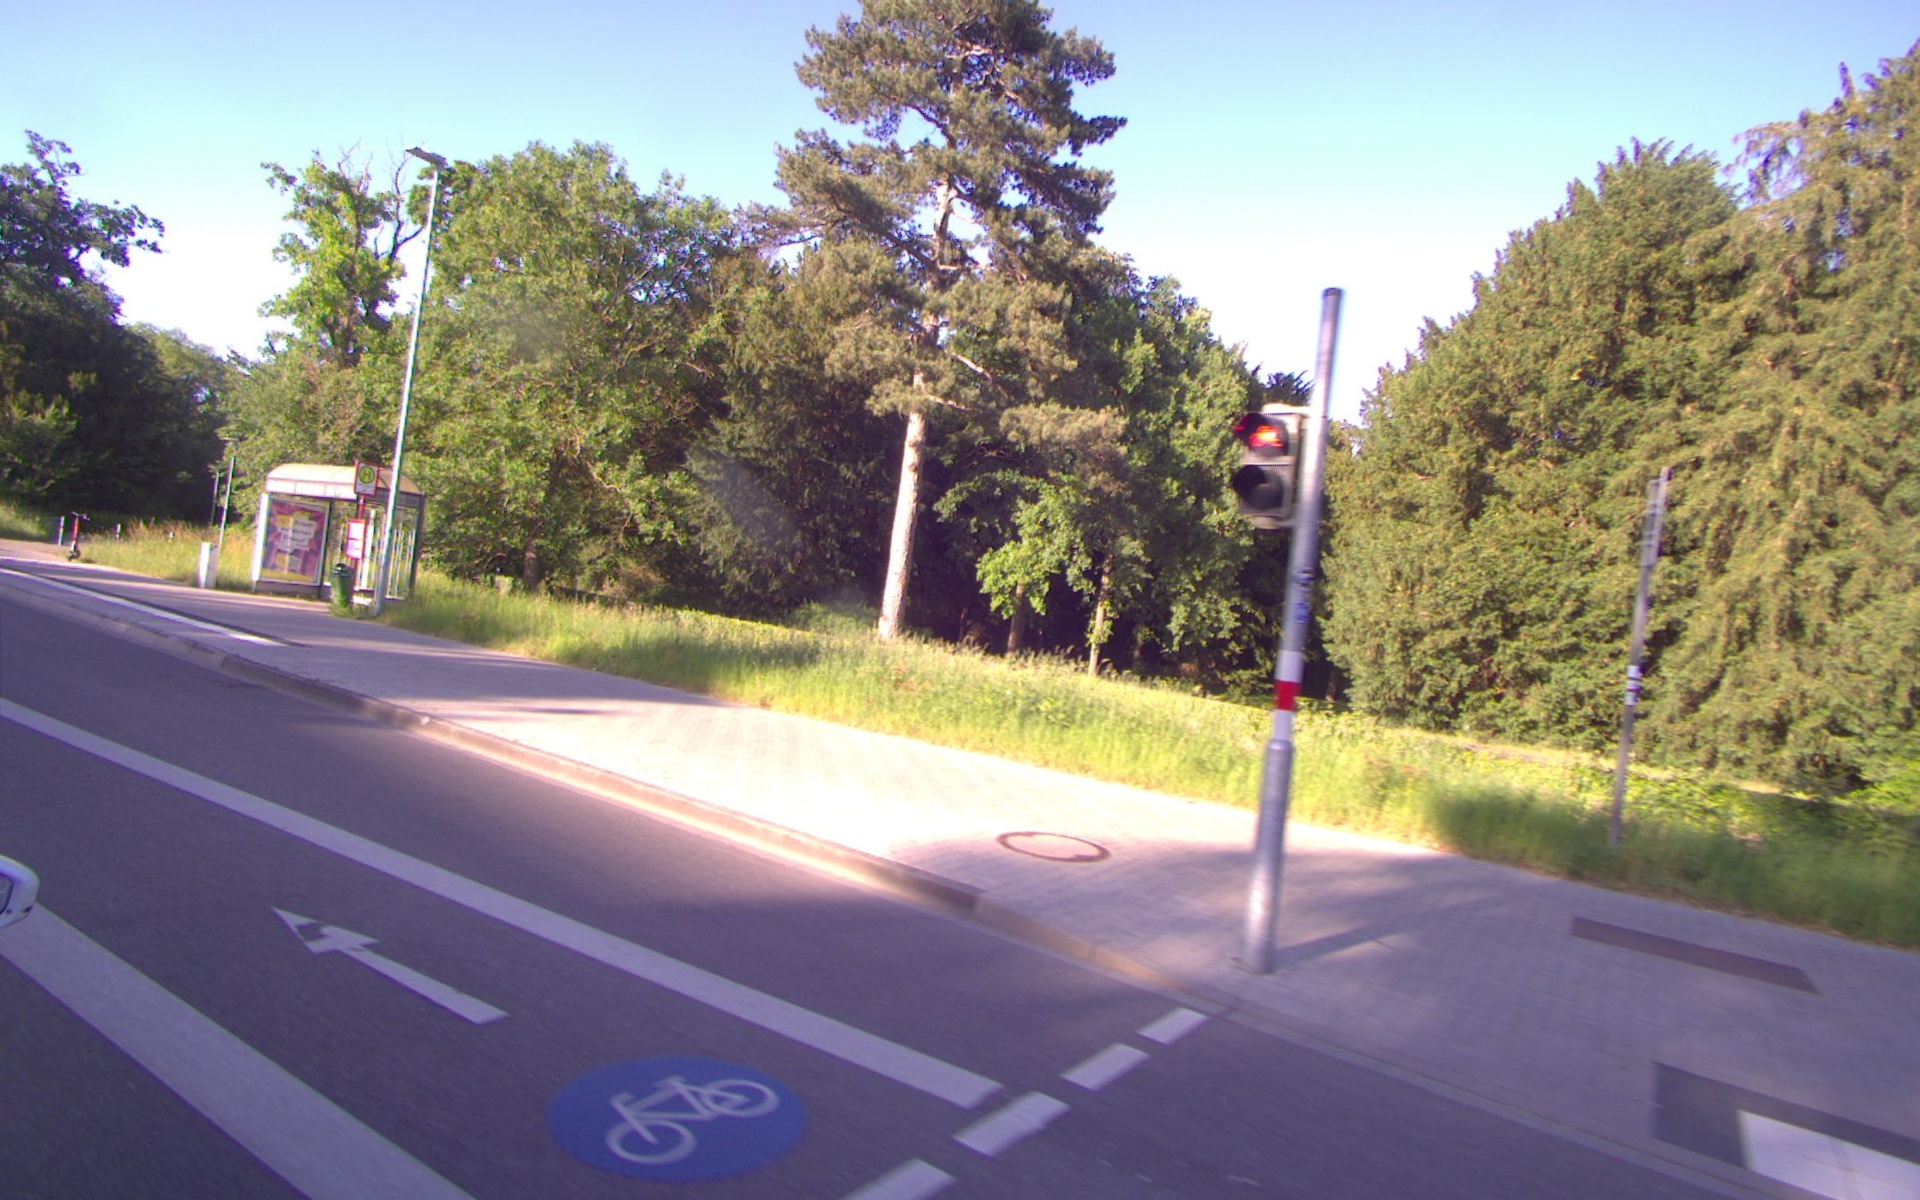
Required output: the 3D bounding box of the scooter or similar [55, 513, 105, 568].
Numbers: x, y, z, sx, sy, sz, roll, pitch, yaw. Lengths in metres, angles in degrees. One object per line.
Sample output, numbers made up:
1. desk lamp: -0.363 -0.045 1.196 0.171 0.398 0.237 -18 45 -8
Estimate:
1. scooter or similar: -22.591 -1.530 25.848 0.717 1.262 1.315 7 0 -35
